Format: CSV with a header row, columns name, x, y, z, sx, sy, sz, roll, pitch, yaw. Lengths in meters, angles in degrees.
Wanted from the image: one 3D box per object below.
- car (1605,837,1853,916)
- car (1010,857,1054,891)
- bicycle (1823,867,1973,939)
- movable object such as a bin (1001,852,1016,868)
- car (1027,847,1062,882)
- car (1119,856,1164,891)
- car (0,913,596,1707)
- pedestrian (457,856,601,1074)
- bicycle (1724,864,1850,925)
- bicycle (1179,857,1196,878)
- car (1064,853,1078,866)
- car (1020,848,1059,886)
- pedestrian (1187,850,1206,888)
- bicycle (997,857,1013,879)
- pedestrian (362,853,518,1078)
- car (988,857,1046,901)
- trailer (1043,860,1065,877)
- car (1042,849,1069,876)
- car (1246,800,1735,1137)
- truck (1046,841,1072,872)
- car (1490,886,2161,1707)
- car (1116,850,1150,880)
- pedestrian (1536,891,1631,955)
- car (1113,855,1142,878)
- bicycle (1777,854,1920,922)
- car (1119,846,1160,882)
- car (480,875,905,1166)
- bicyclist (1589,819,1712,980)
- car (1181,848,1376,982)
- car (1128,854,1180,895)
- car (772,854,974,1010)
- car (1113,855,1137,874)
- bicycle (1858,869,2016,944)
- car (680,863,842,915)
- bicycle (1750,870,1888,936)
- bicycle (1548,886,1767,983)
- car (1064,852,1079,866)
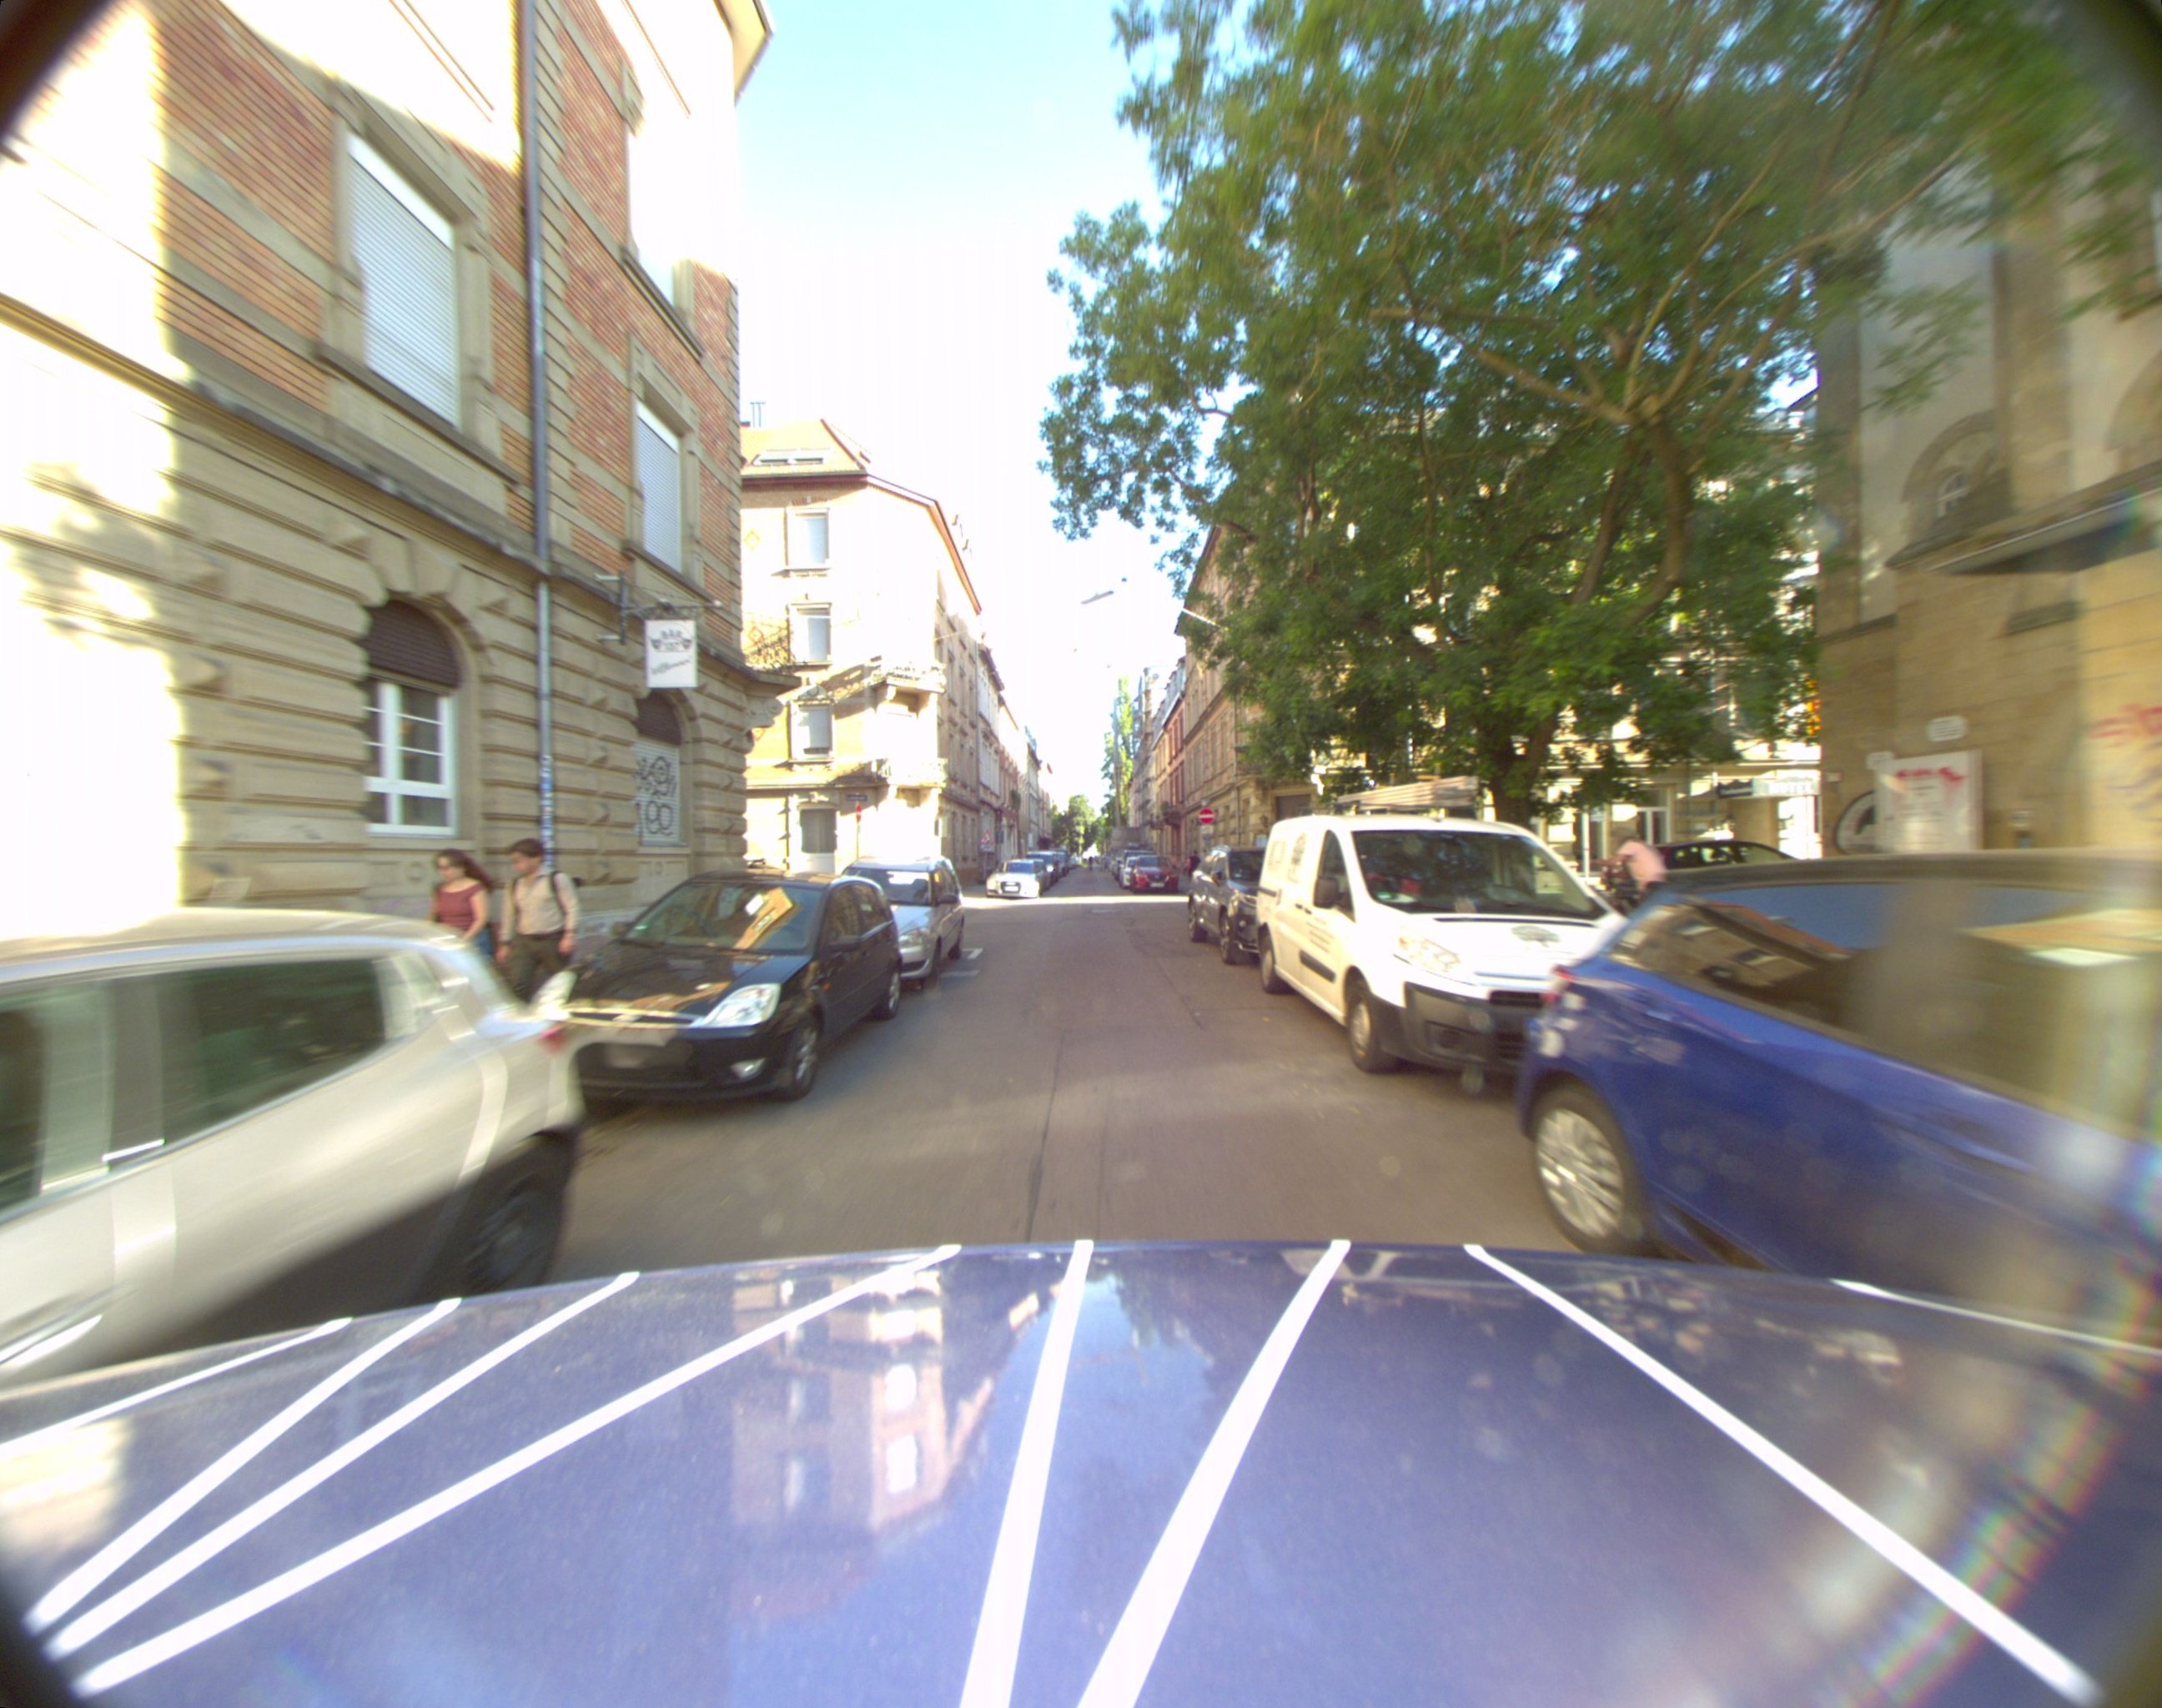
name,x,y,z,sx,sy,sz,roll,pitch,yaw
car,14.407,0.496,17.067,3.997,1.588,1.771,-1,-1,0
car,-2.215,0.888,35.289,1.670,1.470,3.888,-1,0,1
bicycle,12.555,0.746,11.698,1.780,1.048,0.478,-1,0,0
movable object such as a bin,-4.783,0.404,50.307,0.898,1.055,0.722,2,0,-1
car,-2.258,0.620,47.981,1.836,2.002,4.742,-3,0,1
car,2.731,0.851,35.164,1.678,1.412,3.874,-3,0,0
car,-2.567,1.025,0.872,1.576,1.516,3.907,-3,0,-3
pedestrian,-4.263,0.815,5.912,0.592,1.594,0.727,0,0,-1
bicycle,12.723,0.713,13.719,1.780,1.048,0.534,-1,0,0
bicycle,5.991,0.768,42.806,0.668,1.118,1.785,-4,0,1
car,-1.291,0.687,98.828,1.603,1.652,4.060,-3,0,1
car,-2.266,0.686,42.291,1.774,1.949,4.264,-3,0,1
pedestrian,4.944,0.648,32.610,0.668,1.571,0.759,-2,1,0
bicycle,-4.679,0.823,46.713,0.728,1.296,1.692,2,0,1
pedestrian,-4.863,0.801,5.808,0.575,1.612,0.734,0,0,-1
car,-2.383,0.900,29.237,1.710,1.450,4.511,-3,0,1
trailer,-1.986,1.063,56.243,1.508,1.106,3.039,-4,0,-1
car,-2.040,0.683,60.869,1.849,1.972,4.576,-3,0,1
car,2.749,0.649,6.446,1.850,1.851,4.465,-1,0,2
truck,-2.024,0.252,70.786,2.154,2.642,6.252,3,0,-2
car,2.577,0.882,1.286,1.691,1.468,3.860,1,0,0
car,3.093,0.629,46.057,1.792,1.615,4.608,-3,0,2
pedestrian,6.911,0.928,10.468,0.920,0.773,0.701,-1,0,-23
car,3.094,0.801,50.961,1.703,1.306,4.000,-4,0,1
bicycle,12.251,0.537,12.151,1.780,1.048,0.478,-1,0,0
car,3.098,0.504,40.793,1.897,1.774,4.608,-3,0,1
car,-2.584,0.976,6.069,1.539,1.504,3.681,0,0,-1
bicyclist,6.435,0.497,8.621,0.806,1.713,0.692,-4,1,9
car,2.737,0.760,11.578,1.745,1.637,4.288,-1,0,-1
car,2.891,0.771,30.651,1.727,1.472,4.089,-3,0,1
car,-2.563,0.853,10.330,1.708,1.704,3.937,0,0,-1
car,3.433,0.800,59.690,1.678,1.410,4.000,0,0,0
bicycle,12.563,0.765,11.175,1.780,1.048,0.478,-1,0,0
car,-9.756,1.050,23.440,4.253,1.462,1.768,-1,0,-5
bicycle,12.302,0.802,12.693,1.780,1.048,0.534,-1,0,0
bicycle,6.461,0.897,8.619,1.764,0.917,0.827,-4,0,9
car,-1.145,0.549,91.809,1.525,1.525,3.463,4,0,1
